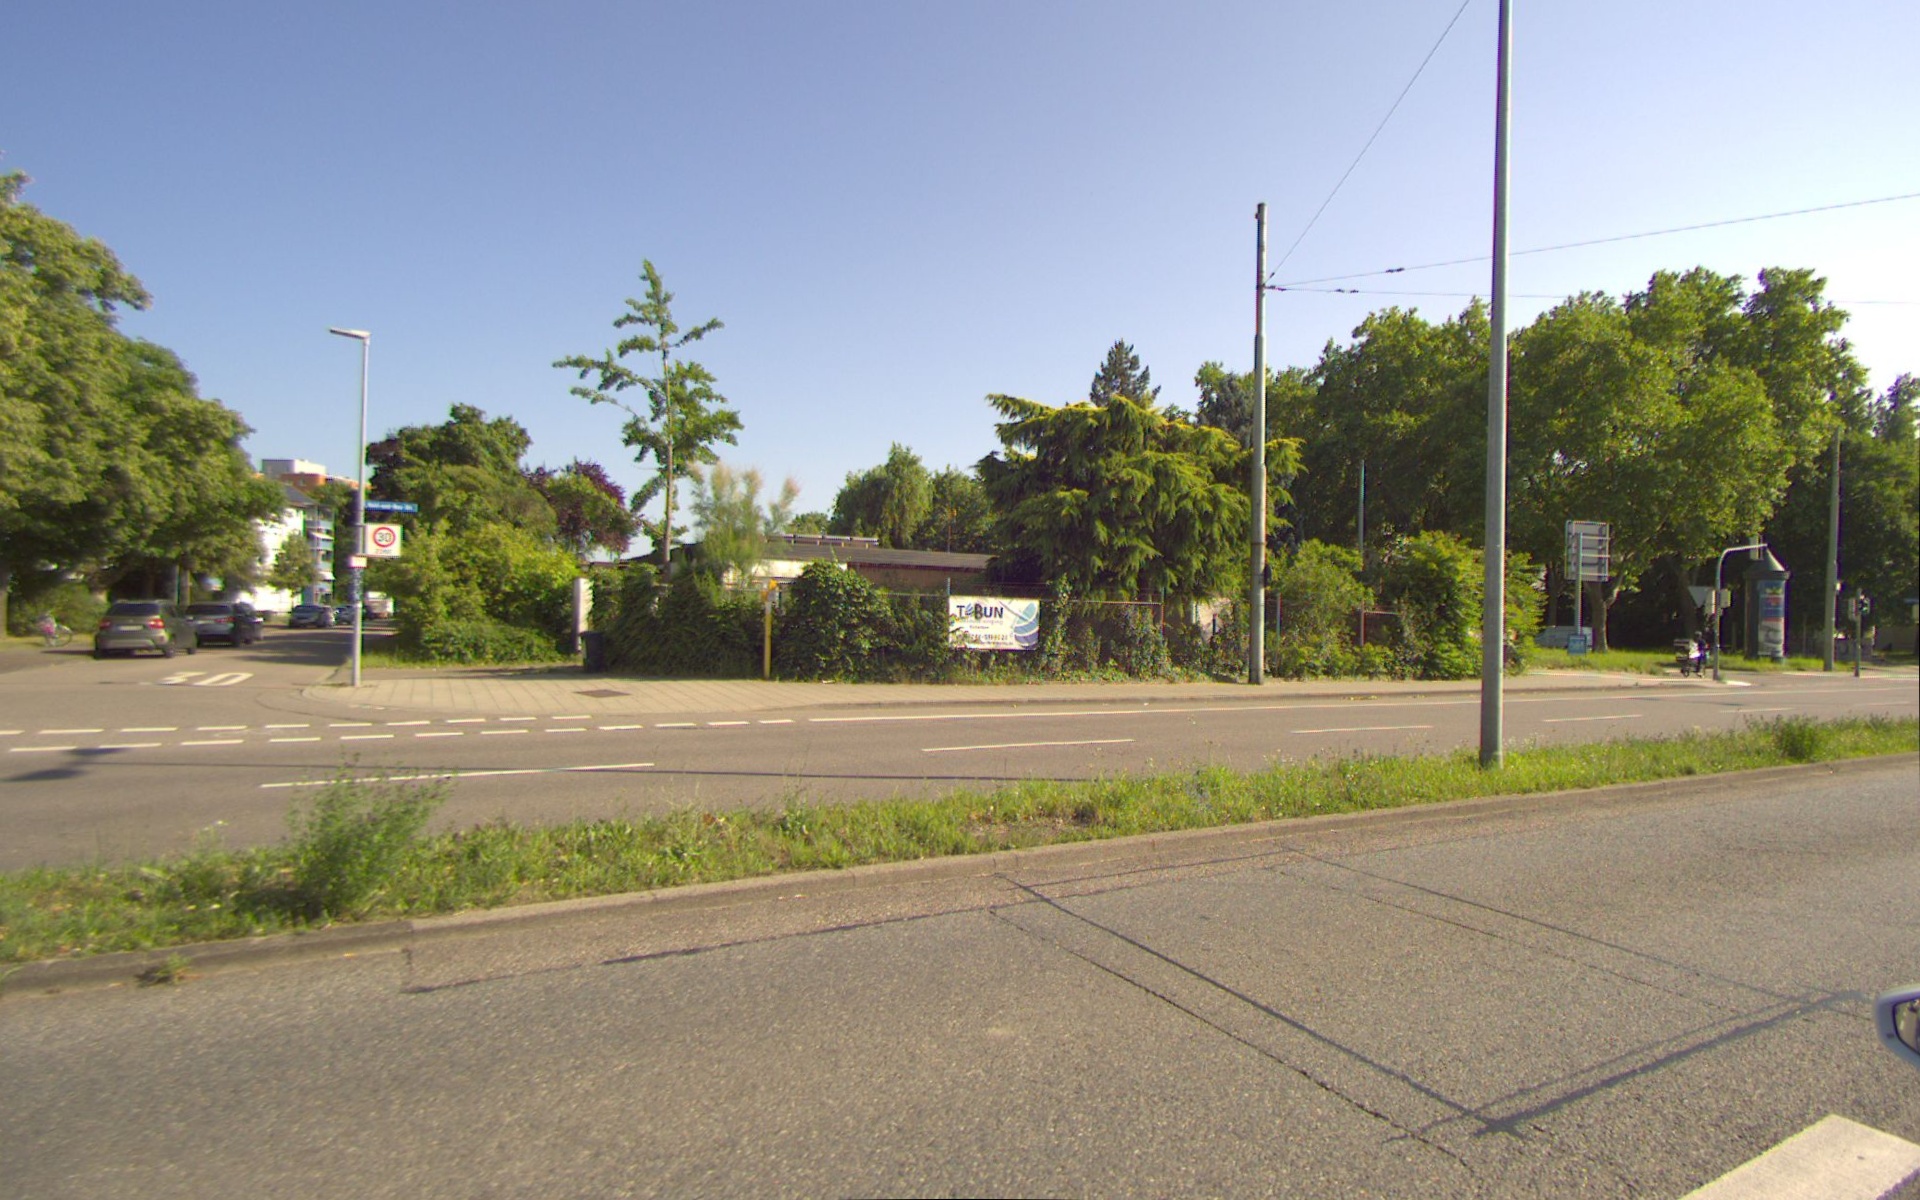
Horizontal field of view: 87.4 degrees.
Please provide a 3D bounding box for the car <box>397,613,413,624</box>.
[{"bbox_3d":[-75.007,2.492,135.770,1.764,1.530,3.972,2,-2,-27],"label":"car"}]

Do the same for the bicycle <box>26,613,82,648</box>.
[{"bbox_3d":[-27.213,0.903,30.191,0.774,1.002,1.733,2,-1,-26],"label":"bicycle"}]

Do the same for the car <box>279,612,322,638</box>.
[{"bbox_3d":[-41.008,1.553,62.520,1.764,1.530,3.972,2,-2,-27],"label":"car"}]

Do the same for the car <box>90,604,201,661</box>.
[{"bbox_3d":[-22.984,0.884,28.468,1.737,1.506,3.538,2,-1,-28],"label":"car"}]

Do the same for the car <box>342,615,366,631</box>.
[{"bbox_3d":[-60.439,2.323,100.289,1.764,1.530,3.972,2,-2,-27],"label":"car"}]

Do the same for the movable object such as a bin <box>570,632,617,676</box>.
[{"bbox_3d":[-8.108,1.186,22.216,0.843,0.943,0.812,2,-1,-30],"label":"movable object such as a bin"}]

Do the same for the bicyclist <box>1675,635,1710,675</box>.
[{"bbox_3d":[27.458,2.059,37.663,1.037,1.471,0.659,2,-1,-26],"label":"bicyclist"}]

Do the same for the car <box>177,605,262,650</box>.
[{"bbox_3d":[-26.763,0.969,36.440,1.763,1.530,3.973,2,-1,-26],"label":"car"}]

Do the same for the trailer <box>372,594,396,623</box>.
[{"bbox_3d":[-70.469,1.010,122.983,1.975,3.343,8.839,2,-1,-27],"label":"trailer"}]

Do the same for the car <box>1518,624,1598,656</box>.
[{"bbox_3d":[39.948,2.665,67.220,1.797,1.989,4.379,2,-1,-22],"label":"car"}]

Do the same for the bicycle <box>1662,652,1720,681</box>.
[{"bbox_3d":[27.379,2.491,37.610,2.546,1.063,0.659,2,-1,-26],"label":"bicycle"}]

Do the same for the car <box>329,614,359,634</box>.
[{"bbox_3d":[-49.943,1.954,81.518,1.764,1.530,3.972,2,-2,-27],"label":"car"}]

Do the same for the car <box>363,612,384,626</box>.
[{"bbox_3d":[-65.660,2.152,112.508,1.764,1.530,3.972,2,-2,-27],"label":"car"}]
